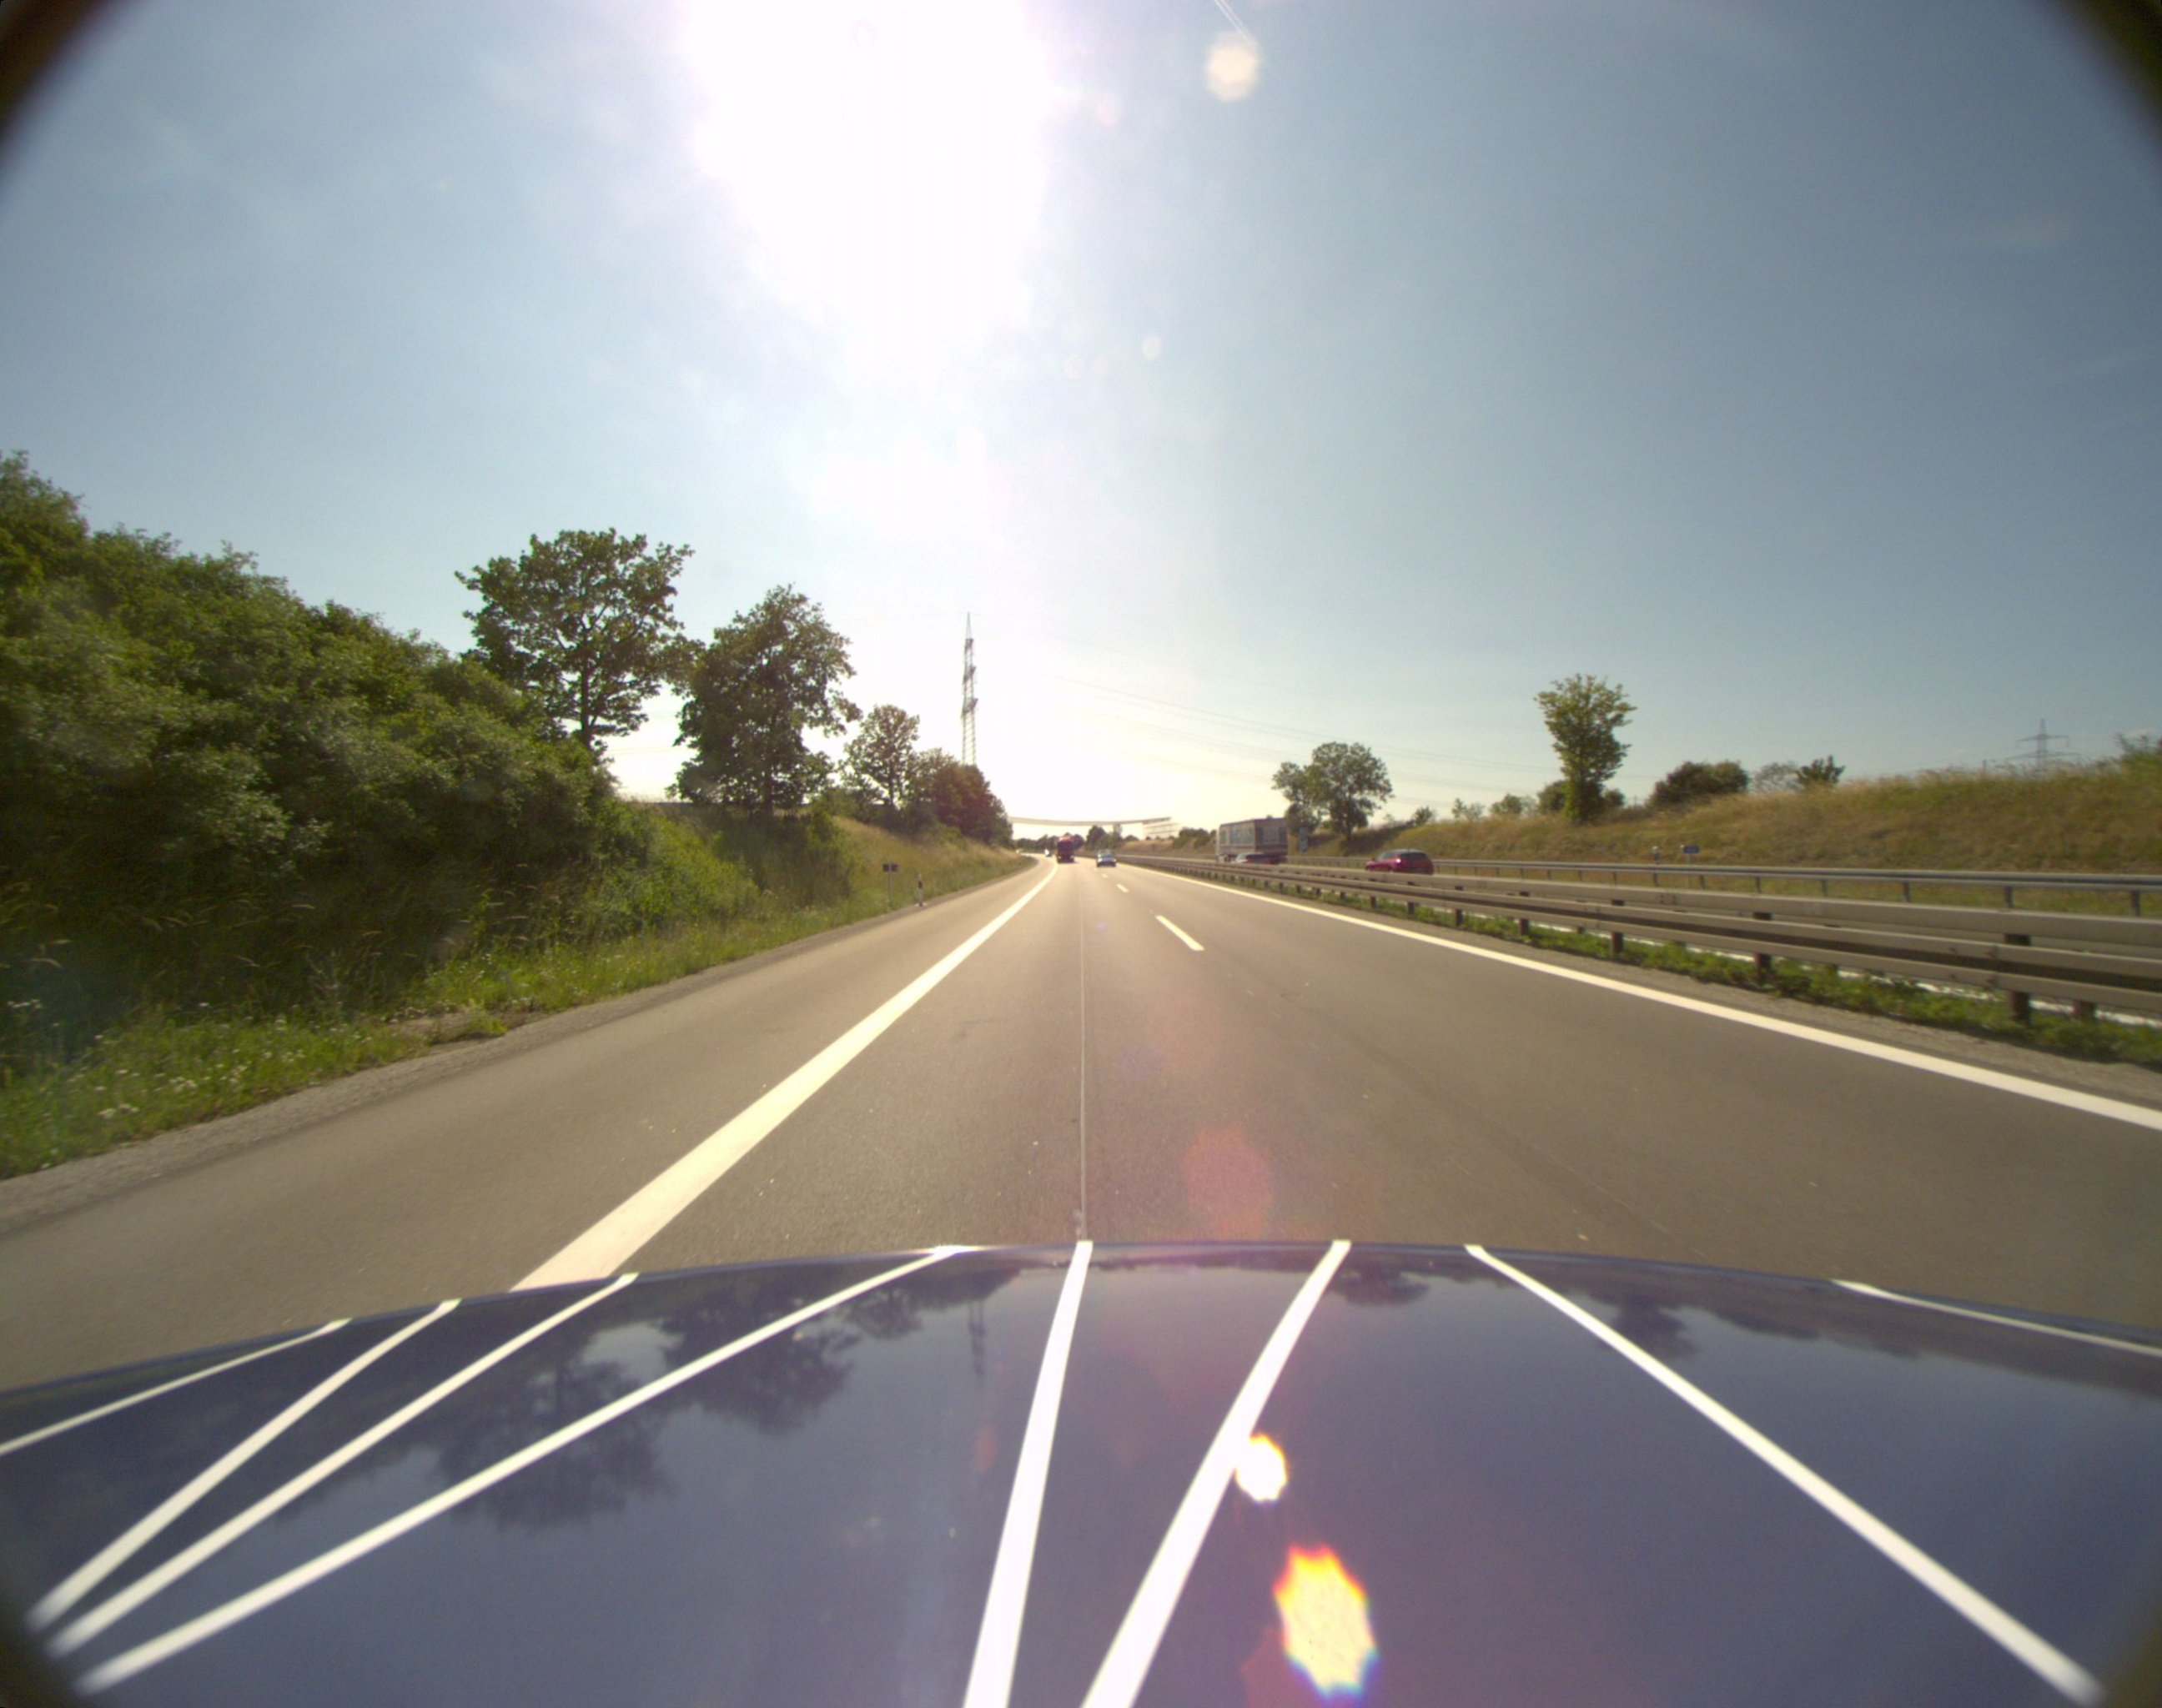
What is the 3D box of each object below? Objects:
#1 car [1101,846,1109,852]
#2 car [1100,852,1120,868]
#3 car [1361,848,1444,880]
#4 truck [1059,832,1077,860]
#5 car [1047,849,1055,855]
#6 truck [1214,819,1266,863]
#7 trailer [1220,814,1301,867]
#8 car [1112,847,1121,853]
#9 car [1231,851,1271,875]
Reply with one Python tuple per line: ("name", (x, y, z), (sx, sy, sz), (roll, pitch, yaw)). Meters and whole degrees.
("car", (5.998, -1.125, 187.839), (1.729, 1.422, 4.221), (-1, 1, 0))
("car", (2.873, 0.581, 77.239), (1.852, 1.424, 5.865), (1, 0, 0))
("car", (14.771, 0.399, 35.203), (1.910, 1.352, 4.553), (-1, 1, 0))
("truck", (-1.893, -1.192, 115.388), (2.570, 3.939, 8.642), (-1, 1, 0))
("car", (-8.647, -0.592, 218.637), (1.910, 1.422, 4.553), (-1, 1, 0))
("truck", (15.184, -1.185, 73.065), (3.623, 3.976, 6.123), (-1, 1, 0))
("trailer", (15.254, -1.104, 66.064), (3.623, 3.975, 14.046), (-1, 1, 0))
("car", (7.554, -0.859, 162.801), (1.729, 1.422, 4.221), (-1, 1, 0))
("car", (10.651, 0.519, 47.775), (1.589, 1.422, 3.926), (-1, 1, 0))
